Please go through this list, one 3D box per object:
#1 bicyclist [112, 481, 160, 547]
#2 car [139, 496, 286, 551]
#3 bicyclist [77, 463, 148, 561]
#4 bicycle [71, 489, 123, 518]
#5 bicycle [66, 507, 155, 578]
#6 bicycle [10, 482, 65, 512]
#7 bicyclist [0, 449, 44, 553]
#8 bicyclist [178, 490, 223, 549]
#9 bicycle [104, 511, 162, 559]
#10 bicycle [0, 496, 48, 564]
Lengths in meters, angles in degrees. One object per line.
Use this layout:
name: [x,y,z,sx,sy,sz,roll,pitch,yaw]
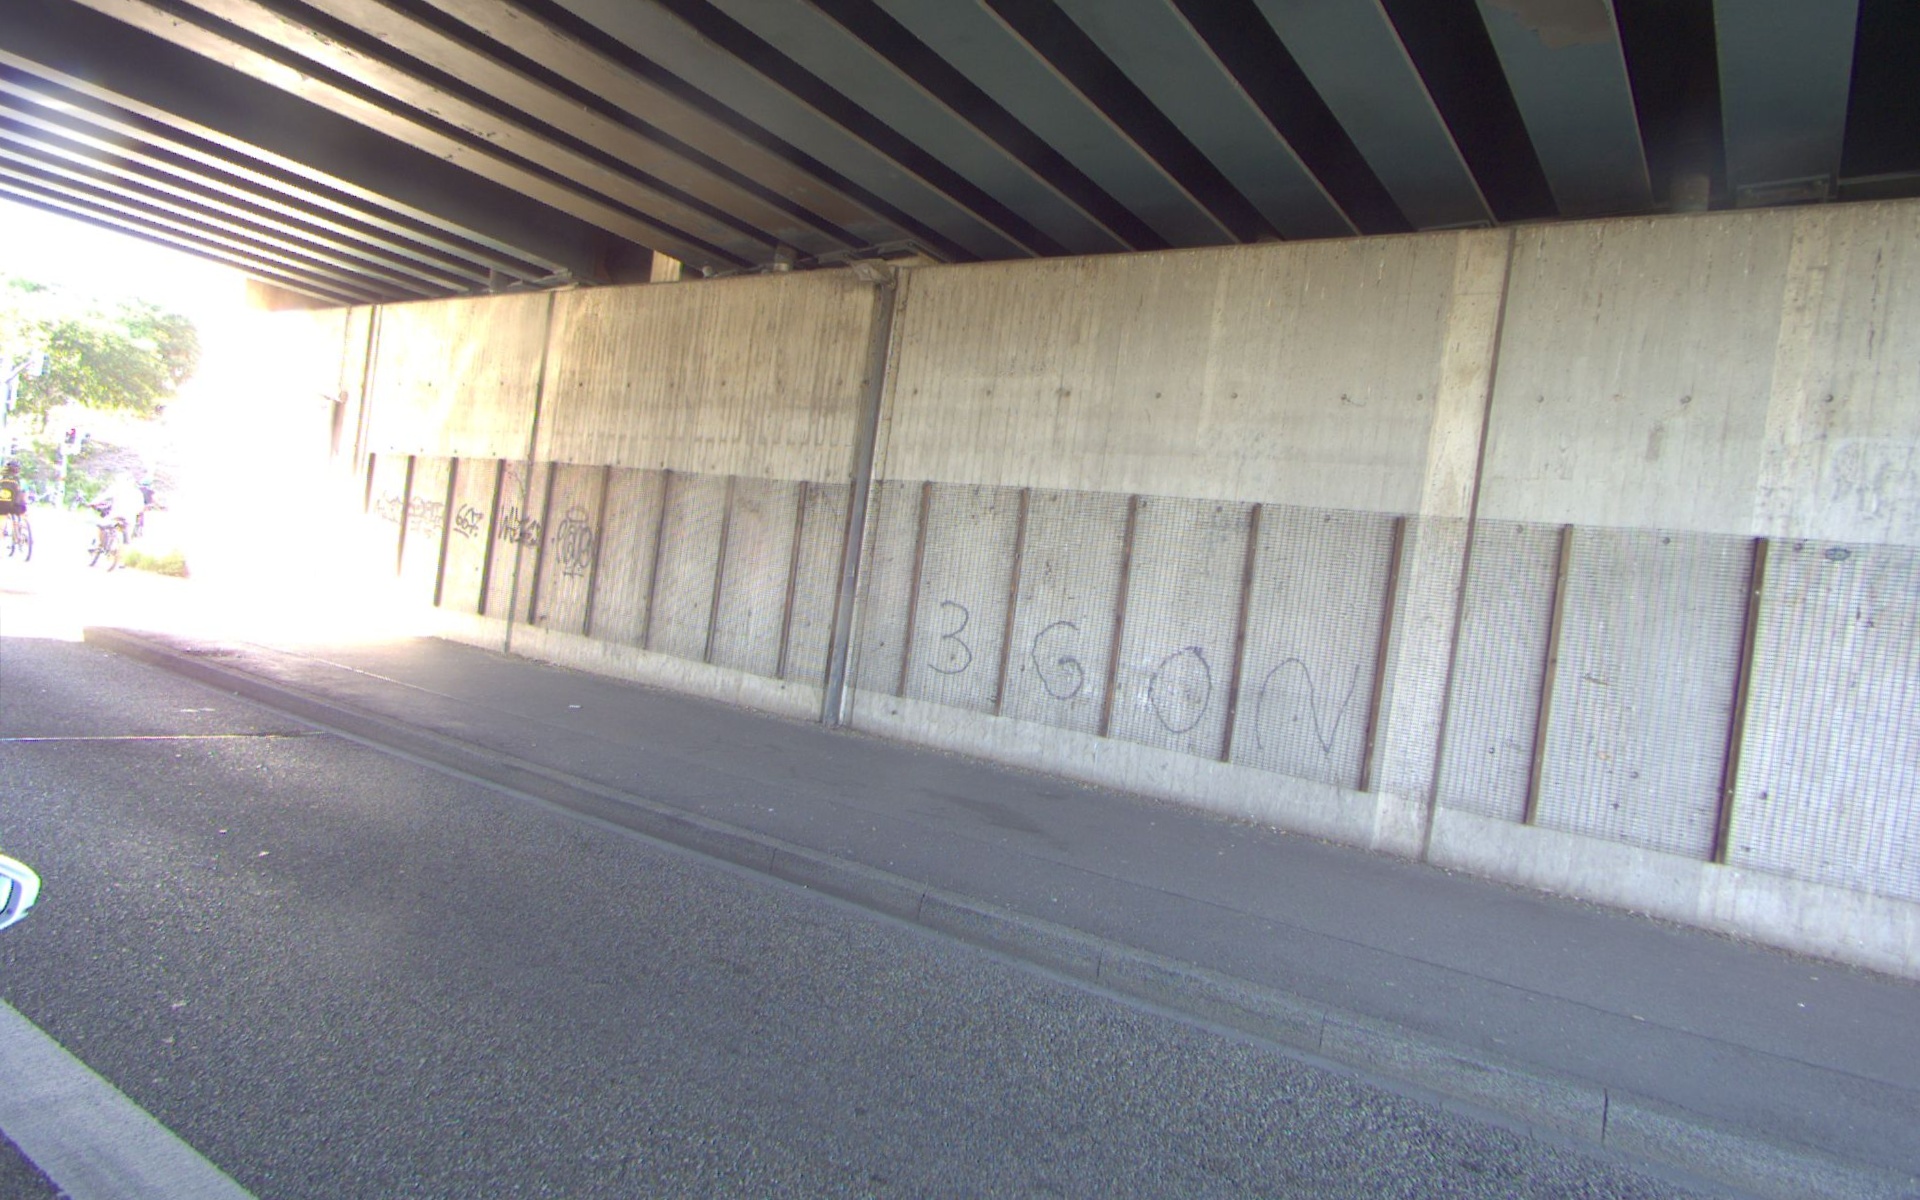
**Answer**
bicyclist: [-20.574,-2.135,25.138,0.660,1.491,0.745,8,-1,-29]
car: [-31.407,-3.193,42.382,1.801,1.531,4.548,6,-3,39]
bicyclist: [-14.668,-1.517,17.415,0.756,1.566,0.593,6,-1,32]
bicycle: [-41.072,-4.578,47.895,0.586,1.035,1.743,6,-2,43]
bicycle: [-14.726,-1.006,17.425,1.721,1.035,0.593,6,-1,32]
bicycle: [-42.883,-4.781,46.778,0.585,1.035,1.744,6,-2,40]
bicyclist: [-16.150,-1.683,17.016,0.927,1.632,0.593,6,-1,32]
bicyclist: [-20.909,-2.216,27.713,0.607,1.499,0.650,8,0,29]
bicycle: [-20.652,-1.594,25.156,0.666,1.035,2.041,8,-2,-29]
bicycle: [-16.204,-1.218,17.026,1.721,1.035,0.593,6,-1,32]
